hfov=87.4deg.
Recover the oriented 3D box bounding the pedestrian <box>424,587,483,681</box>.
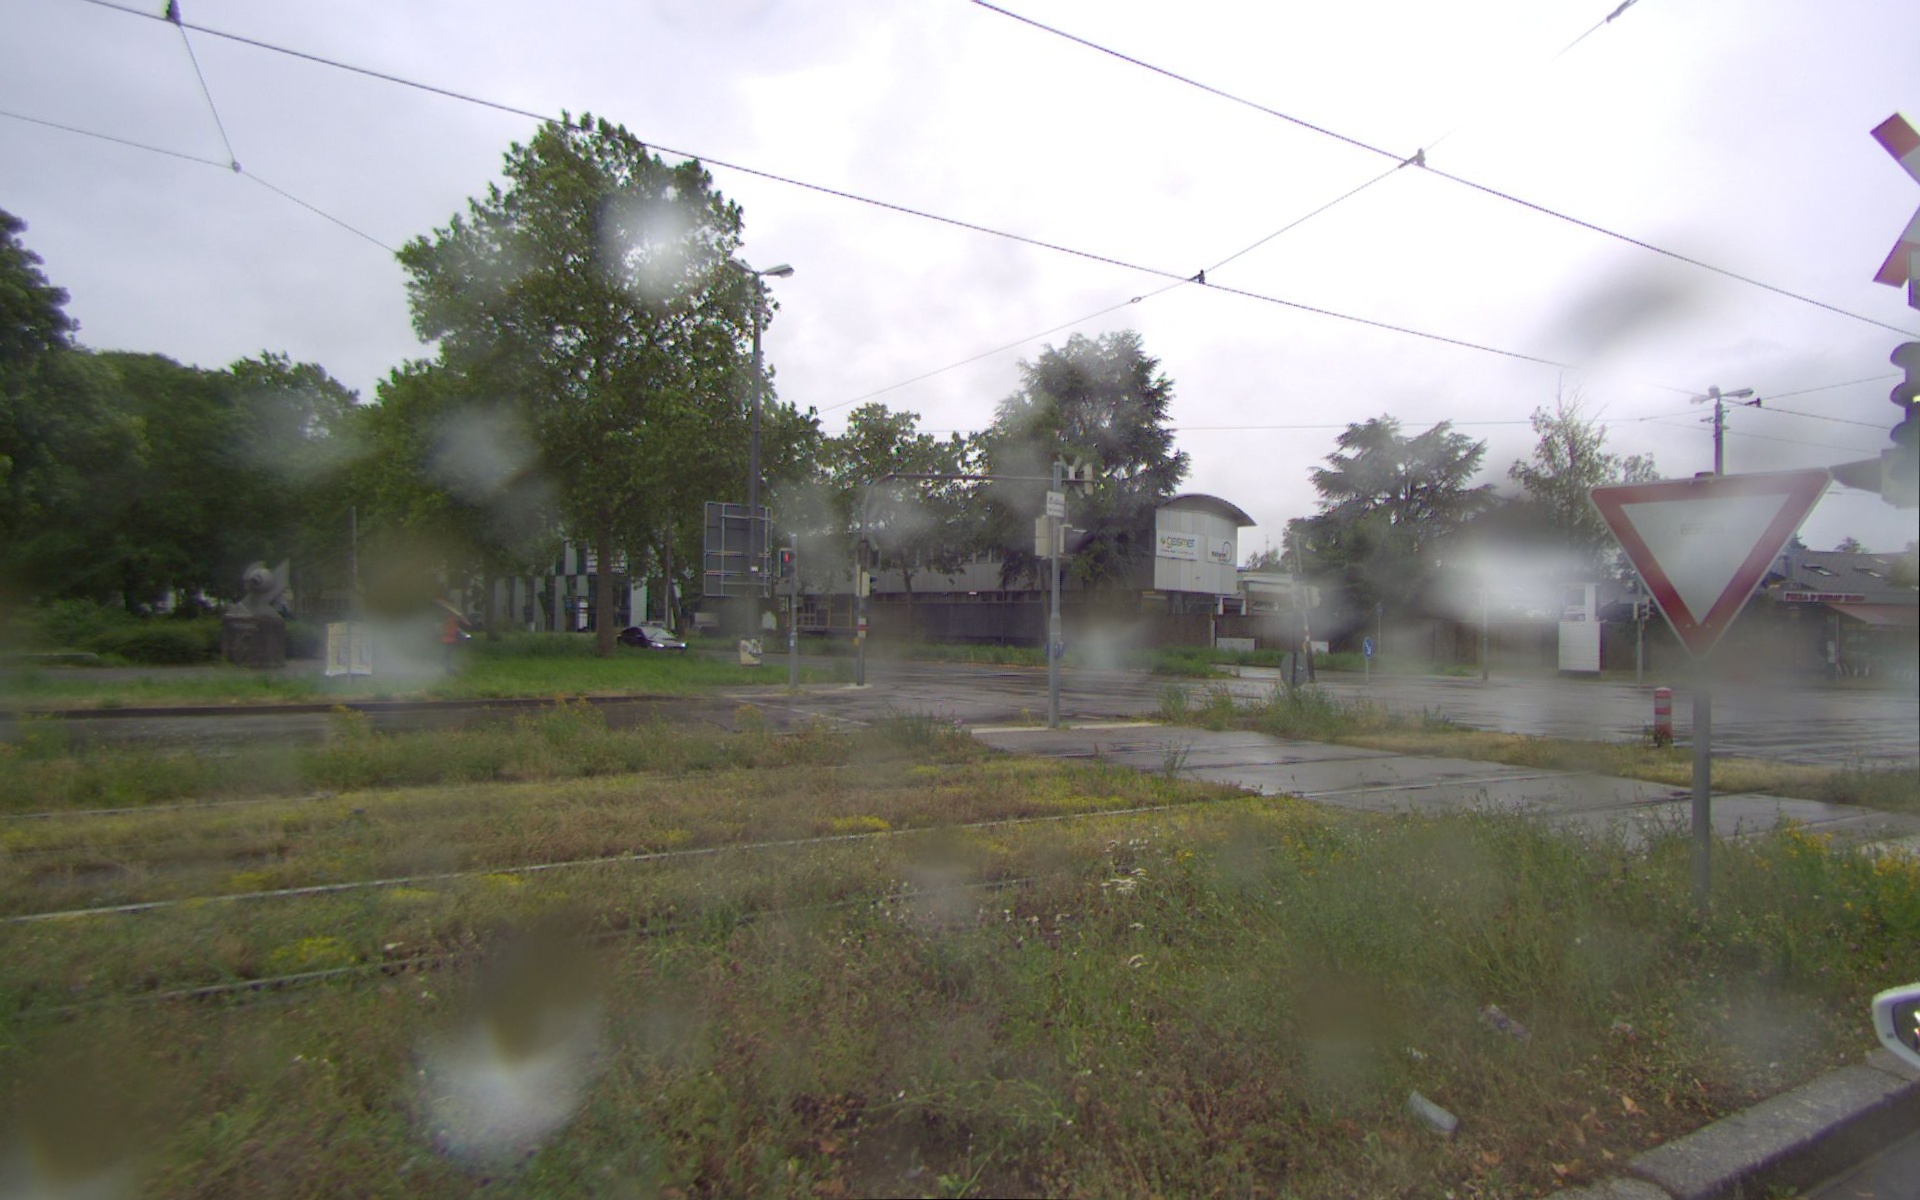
[{"bbox_3d":[-11.218,0.733,22.231,0.998,2.017,0.945,2,0,-34],"label":"pedestrian"}]

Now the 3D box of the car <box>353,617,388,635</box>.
[{"bbox_3d":[-66.601,2.955,113.448,3.934,1.806,1.994,2,-1,36],"label":"car"}]

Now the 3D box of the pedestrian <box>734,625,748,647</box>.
[{"bbox_3d":[-17.243,2.855,79.034,0.812,1.690,0.670,2,0,40],"label":"pedestrian"}]

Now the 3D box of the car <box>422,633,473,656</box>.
[{"bbox_3d":[-32.240,2.812,63.152,1.792,1.425,4.405,2,-4,-42],"label":"car"}]

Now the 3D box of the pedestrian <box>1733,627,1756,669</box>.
[{"bbox_3d":[39.762,2.422,50.914,0.781,2.040,0.724,2,0,32],"label":"pedestrian"}]

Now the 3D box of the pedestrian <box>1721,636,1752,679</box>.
[{"bbox_3d":[33.601,2.464,43.450,0.875,1.821,0.722,1,0,-26],"label":"pedestrian"}]

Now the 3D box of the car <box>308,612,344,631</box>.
[{"bbox_3d":[-75.935,2.536,120.337,3.932,2.116,2.123,2,-1,33],"label":"car"}]

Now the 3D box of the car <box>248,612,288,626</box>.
[{"bbox_3d":[-90.425,2.503,131.359,1.853,1.673,3.875,2,-1,28],"label":"car"}]

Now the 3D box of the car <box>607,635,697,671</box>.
[{"bbox_3d":[-13.361,2.255,43.478,4.252,1.420,1.795,-1,-1,42],"label":"car"}]
